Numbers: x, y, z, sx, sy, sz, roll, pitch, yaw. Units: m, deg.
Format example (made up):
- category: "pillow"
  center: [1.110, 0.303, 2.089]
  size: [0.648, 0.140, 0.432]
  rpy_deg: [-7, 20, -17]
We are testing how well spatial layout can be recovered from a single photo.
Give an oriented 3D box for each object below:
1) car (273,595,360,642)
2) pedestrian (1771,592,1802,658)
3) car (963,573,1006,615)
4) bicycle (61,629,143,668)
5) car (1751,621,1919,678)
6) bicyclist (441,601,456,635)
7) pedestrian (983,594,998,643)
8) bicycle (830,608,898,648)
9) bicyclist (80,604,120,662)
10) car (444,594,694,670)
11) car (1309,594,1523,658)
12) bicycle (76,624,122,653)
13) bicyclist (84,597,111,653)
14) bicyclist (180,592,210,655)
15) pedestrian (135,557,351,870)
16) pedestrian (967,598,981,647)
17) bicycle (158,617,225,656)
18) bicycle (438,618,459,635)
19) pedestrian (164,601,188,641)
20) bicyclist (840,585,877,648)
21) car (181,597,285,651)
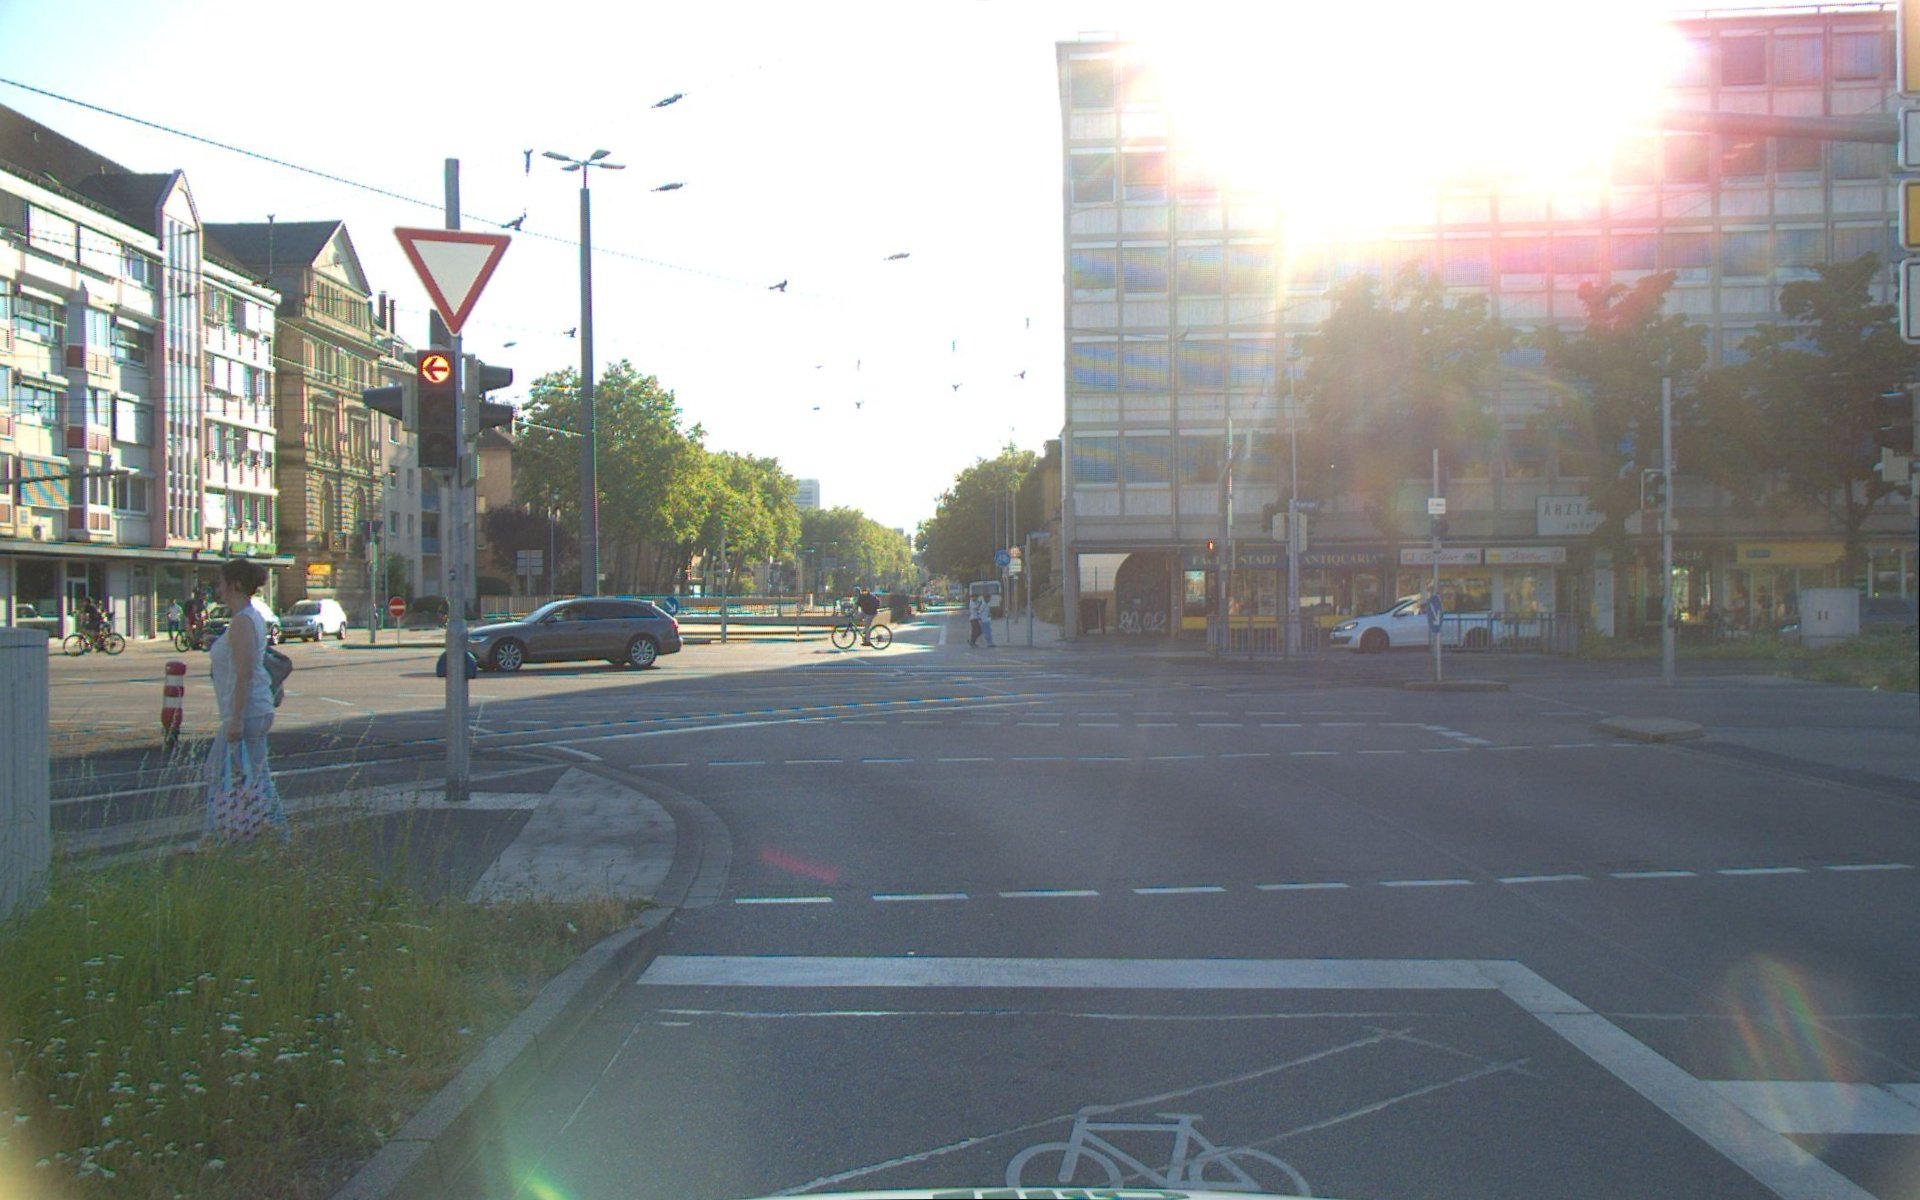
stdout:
- category: "car"
  center: [-27.002, 0.757, 69.533]
  size: [1.952, 1.892, 4.001]
  rpy_deg: [-1, 0, 2]
- category: "pedestrian"
  center: [25.957, 0.778, 51.958]
  size: [0.692, 2.049, 0.558]
  rpy_deg: [0, 0, 2]
- category: "car"
  center: [1.518, -0.360, 104.650]
  size: [2.435, 2.434, 5.933]
  rpy_deg: [-2, 0, -1]
- category: "bicycle"
  center: [-26.478, 1.497, 51.087]
  size: [2.131, 1.157, 0.658]
  rpy_deg: [-1, 0, -5]
- category: "car"
  center: [23.672, 1.318, 44.439]
  size: [3.904, 1.445, 2.001]
  rpy_deg: [0, 0, 2]
- category: "bicyclist"
  center: [-29.238, 1.026, 94.559]
  size: [0.580, 1.894, 0.642]
  rpy_deg: [-1, 0, 1]
- category: "pedestrian"
  center: [0.970, 0.589, 52.609]
  size: [0.359, 1.534, 0.542]
  rpy_deg: [-1, 0, -7]
- category: "bicycle"
  center: [-2.738, 0.794, 47.082]
  size: [1.934, 1.117, 0.677]
  rpy_deg: [-1, 0, -5]
- category: "bicyclist"
  center: [-26.551, 1.012, 51.074]
  size: [0.881, 1.783, 0.650]
  rpy_deg: [-1, 0, -5]
- category: "car"
  center: [-8.344, 0.637, 35.460]
  size: [4.872, 1.504, 1.978]
  rpy_deg: [-1, 0, -32]
- category: "car"
  center: [11.203, 0.622, 40.913]
  size: [4.816, 1.504, 2.001]
  rpy_deg: [0, 0, 5]
- category: "bicycle"
  center: [-29.588, 1.330, 56.870]
  size: [0.586, 0.931, 1.836]
  rpy_deg: [-1, 0, 1]
- category: "bicyclist"
  center: [-29.669, 0.858, 56.893]
  size: [0.580, 1.894, 0.642]
  rpy_deg: [-1, 0, 1]
- category: "bicyclist"
  center: [-25.428, 0.773, 54.956]
  size: [0.771, 2.049, 0.596]
  rpy_deg: [0, 0, -39]
- category: "pedestrian"
  center: [-3.871, 0.591, 8.976]
  size: [0.860, 1.625, 0.655]
  rpy_deg: [-1, 0, -1]
- category: "pedestrian"
  center: [0.440, 0.699, 51.535]
  size: [0.359, 1.534, 0.542]
  rpy_deg: [-1, 0, -7]
- category: "bicycle"
  center: [-25.498, 1.204, 54.891]
  size: [1.947, 1.222, 0.602]
  rpy_deg: [-1, 0, -38]
- category: "bicycle"
  center: [-29.232, 1.515, 94.486]
  size: [0.586, 0.931, 1.836]
  rpy_deg: [-1, 0, 1]
- category: "pedestrian"
  center: [-32.291, 0.872, 68.121]
  size: [0.613, 1.633, 0.704]
  rpy_deg: [0, 0, 1]
- category: "bicyclist"
  center: [-2.892, 0.466, 46.987]
  size: [1.019, 1.769, 0.677]
  rpy_deg: [0, 0, -5]
- category: "car"
  center: [-26.868, 0.865, 61.258]
  size: [1.952, 1.892, 4.001]
  rpy_deg: [-1, 0, 2]
